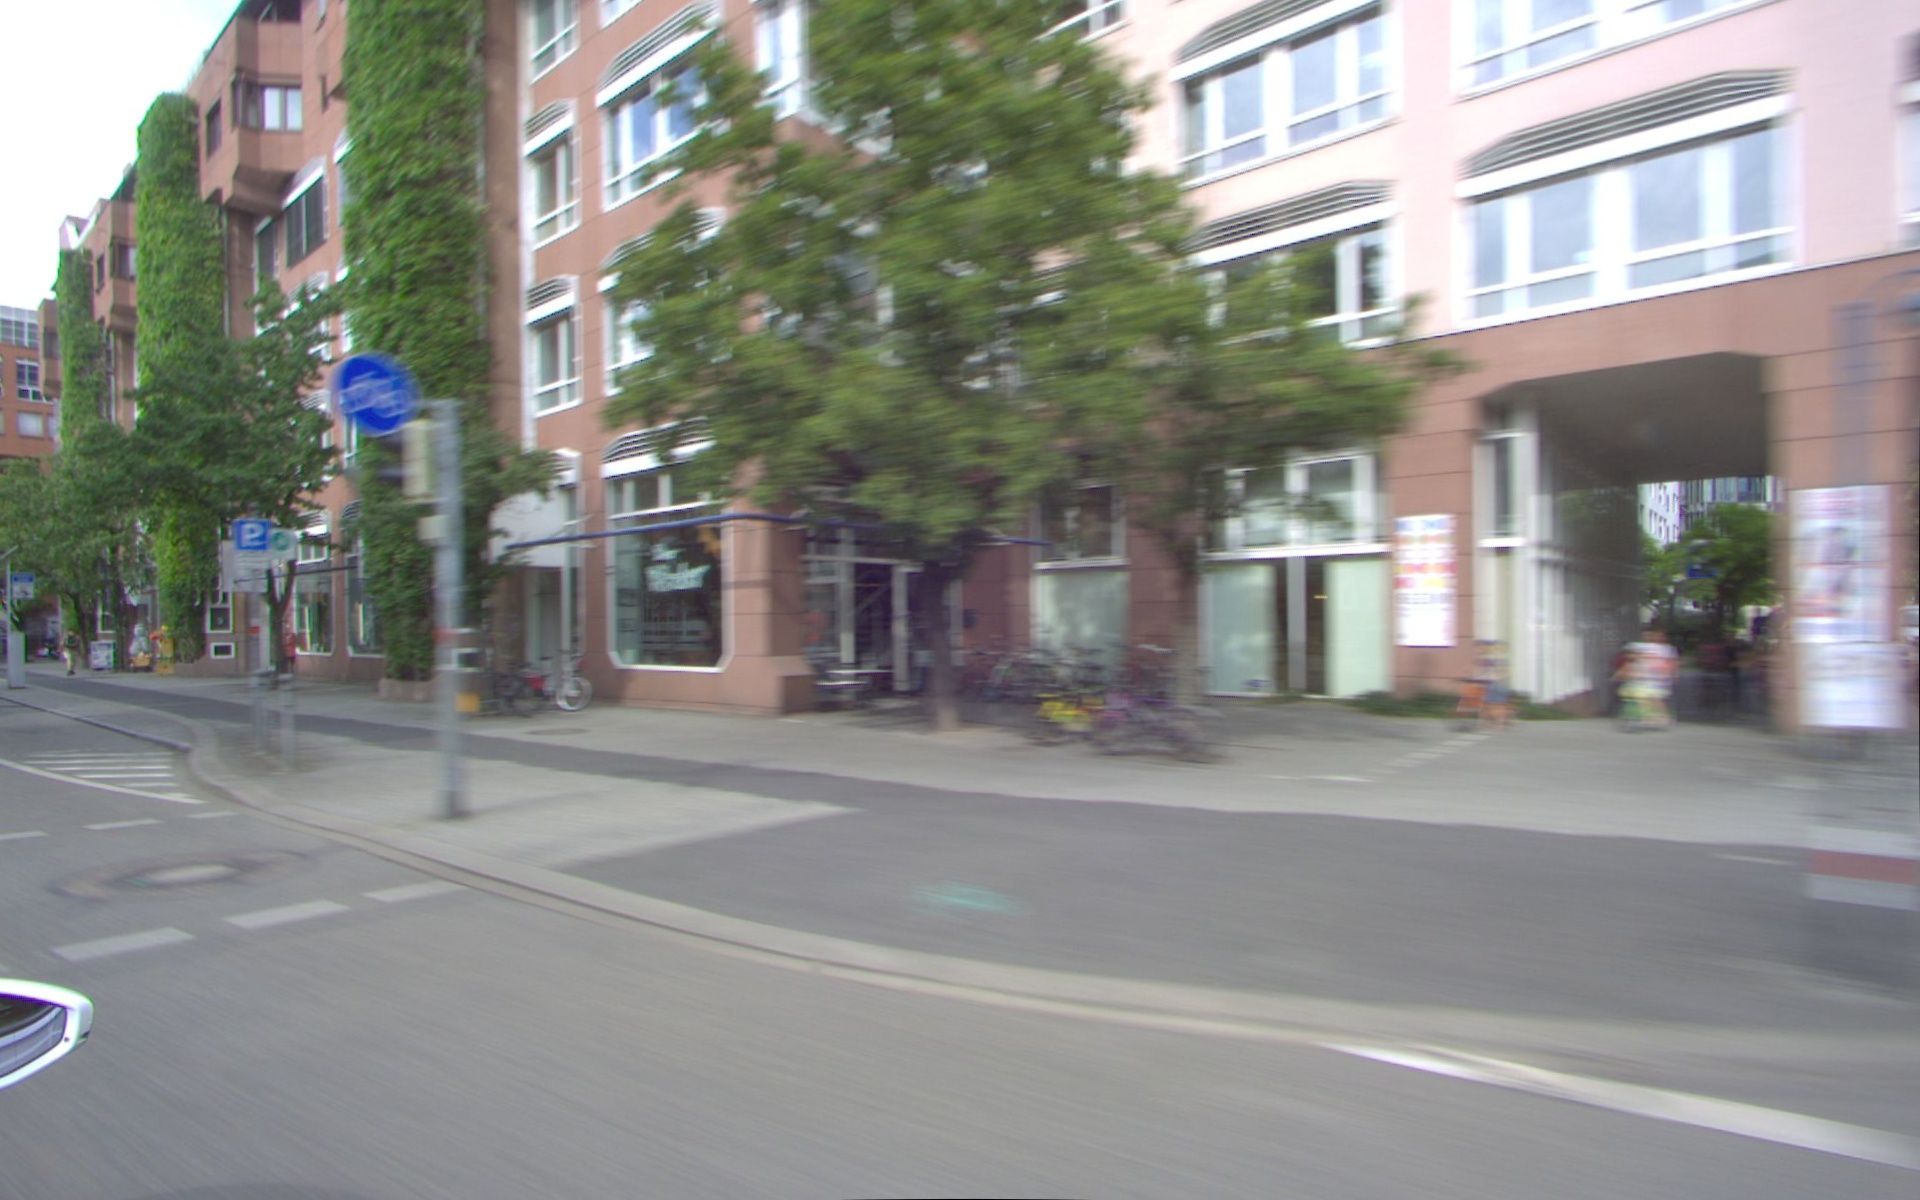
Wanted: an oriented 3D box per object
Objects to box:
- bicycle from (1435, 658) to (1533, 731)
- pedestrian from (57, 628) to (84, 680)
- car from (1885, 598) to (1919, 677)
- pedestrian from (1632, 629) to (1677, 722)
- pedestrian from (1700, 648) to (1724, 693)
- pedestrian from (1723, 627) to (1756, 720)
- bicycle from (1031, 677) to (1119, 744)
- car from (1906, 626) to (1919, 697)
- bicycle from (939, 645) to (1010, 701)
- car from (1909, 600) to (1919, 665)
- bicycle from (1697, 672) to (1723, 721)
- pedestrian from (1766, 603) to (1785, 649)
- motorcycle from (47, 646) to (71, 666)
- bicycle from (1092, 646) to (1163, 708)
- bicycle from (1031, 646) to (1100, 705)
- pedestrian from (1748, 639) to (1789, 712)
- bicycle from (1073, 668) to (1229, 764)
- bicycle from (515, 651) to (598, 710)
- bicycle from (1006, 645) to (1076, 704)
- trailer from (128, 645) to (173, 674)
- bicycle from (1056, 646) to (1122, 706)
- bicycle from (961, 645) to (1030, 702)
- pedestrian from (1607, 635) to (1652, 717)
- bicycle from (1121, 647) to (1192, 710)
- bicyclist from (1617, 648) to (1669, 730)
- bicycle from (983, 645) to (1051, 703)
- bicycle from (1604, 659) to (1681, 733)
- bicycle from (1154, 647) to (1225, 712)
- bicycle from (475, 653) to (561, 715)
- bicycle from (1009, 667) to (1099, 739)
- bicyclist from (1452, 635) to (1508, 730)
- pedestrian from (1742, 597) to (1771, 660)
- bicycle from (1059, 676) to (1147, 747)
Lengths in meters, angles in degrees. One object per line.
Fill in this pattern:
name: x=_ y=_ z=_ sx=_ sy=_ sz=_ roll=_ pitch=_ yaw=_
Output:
bicycle: x=7.212 y=1.281 z=13.768 sx=1.298 sy=0.926 sz=0.474 roll=0 pitch=-1 yaw=-23
pedestrian: x=-32.905 y=1.978 z=37.038 sx=0.773 sy=1.883 sz=0.644 roll=-1 pitch=-1 yaw=40
car: x=25.380 y=0.939 z=25.965 sx=1.965 sy=1.925 sz=4.646 roll=-1 pitch=-1 yaw=42
pedestrian: x=12.283 y=1.319 z=17.707 sx=0.572 sy=1.600 sz=0.647 roll=-1 pitch=-1 yaw=40
pedestrian: x=15.085 y=1.407 z=20.095 sx=0.360 sy=0.885 sz=0.424 roll=-1 pitch=-1 yaw=39
pedestrian: x=14.958 y=1.386 z=19.220 sx=0.475 sy=1.747 sz=0.586 roll=-1 pitch=-1 yaw=39
bicycle: x=1.605 y=1.516 z=13.899 sx=1.287 sy=0.824 sz=0.441 roll=0 pitch=-1 yaw=-38
car: x=21.717 y=1.266 z=21.618 sx=1.707 sy=1.423 sz=3.947 roll=-3 pitch=-3 yaw=42
bicycle: x=0.304 y=1.422 z=19.760 sx=0.466 sy=1.021 sz=1.724 roll=-1 pitch=-1 yaw=36
car: x=31.052 y=0.984 z=31.203 sx=1.965 sy=1.925 sz=4.646 roll=-1 pitch=-1 yaw=42
bicycle: x=14.517 y=1.844 z=19.385 sx=0.350 sy=0.849 sz=1.343 roll=-1 pitch=-1 yaw=39
pedestrian: x=32.805 y=1.054 z=40.291 sx=0.552 sy=1.815 sz=0.559 roll=-1 pitch=-1 yaw=41
motorcycle: x=-55.846 y=3.458 z=62.055 sx=2.407 sy=1.151 sz=0.753 roll=-2 pitch=-1 yaw=40
bicycle: x=3.011 y=1.354 z=17.886 sx=0.539 sy=1.021 sz=1.724 roll=-1 pitch=-1 yaw=36
bicycle: x=1.988 y=1.378 z=18.662 sx=0.472 sy=1.021 sz=1.724 roll=-1 pitch=-1 yaw=36
pedestrian: x=16.267 y=1.498 z=20.151 sx=0.612 sy=1.432 sz=0.647 roll=-1 pitch=-1 yaw=39
bicycle: x=2.252 y=1.340 z=11.878 sx=1.712 sy=1.021 sz=0.615 roll=-2 pitch=-1 yaw=35
bicycle: x=-7.446 y=1.454 z=18.456 sx=1.712 sy=1.021 sz=0.615 roll=-2 pitch=-1 yaw=36
bicycle: x=1.552 y=1.389 z=18.947 sx=0.465 sy=1.021 sz=1.724 roll=-1 pitch=-1 yaw=36
trailer: x=-31.548 y=2.305 z=39.046 sx=0.979 sy=1.072 sz=1.604 roll=0 pitch=-1 yaw=-24
bicycle: x=2.392 y=1.367 z=18.396 sx=0.419 sy=1.021 sz=1.724 roll=-1 pitch=-1 yaw=36
bicycle: x=0.712 y=1.415 z=19.499 sx=0.425 sy=1.021 sz=1.724 roll=-1 pitch=-1 yaw=36
pedestrian: x=13.432 y=1.509 z=20.089 sx=0.667 sy=1.600 sz=0.647 roll=-1 pitch=-1 yaw=39
bicycle: x=3.457 y=1.344 z=17.504 sx=0.539 sy=1.021 sz=1.724 roll=-1 pitch=-1 yaw=36
bicyclist: x=9.310 y=1.199 z=13.645 sx=0.491 sy=1.079 sz=0.432 roll=0 pitch=-1 yaw=-35
bicycle: x=1.119 y=1.401 z=19.215 sx=0.432 sy=1.021 sz=1.724 roll=-1 pitch=-1 yaw=36
bicycle: x=9.304 y=1.291 z=13.644 sx=1.267 sy=0.926 sz=0.450 roll=0 pitch=-1 yaw=-35
bicycle: x=3.965 y=1.333 z=17.183 sx=0.539 sy=1.021 sz=1.724 roll=-1 pitch=-1 yaw=36
bicycle: x=-7.831 y=1.458 z=17.733 sx=1.712 sy=1.021 sz=0.615 roll=-2 pitch=-1 yaw=36
bicycle: x=1.353 y=1.447 z=14.317 sx=1.287 sy=0.880 sz=0.450 roll=-3 pitch=1 yaw=-38
bicyclist: x=7.135 y=1.117 z=13.750 sx=0.490 sy=1.260 sz=0.479 roll=0 pitch=0 yaw=-22
pedestrian: x=24.987 y=0.898 z=31.414 sx=0.613 sy=1.930 sz=0.645 roll=0 pitch=-1 yaw=-45
bicycle: x=1.930 y=1.473 z=13.433 sx=1.289 sy=0.849 sz=0.450 roll=1 pitch=-1 yaw=-43
